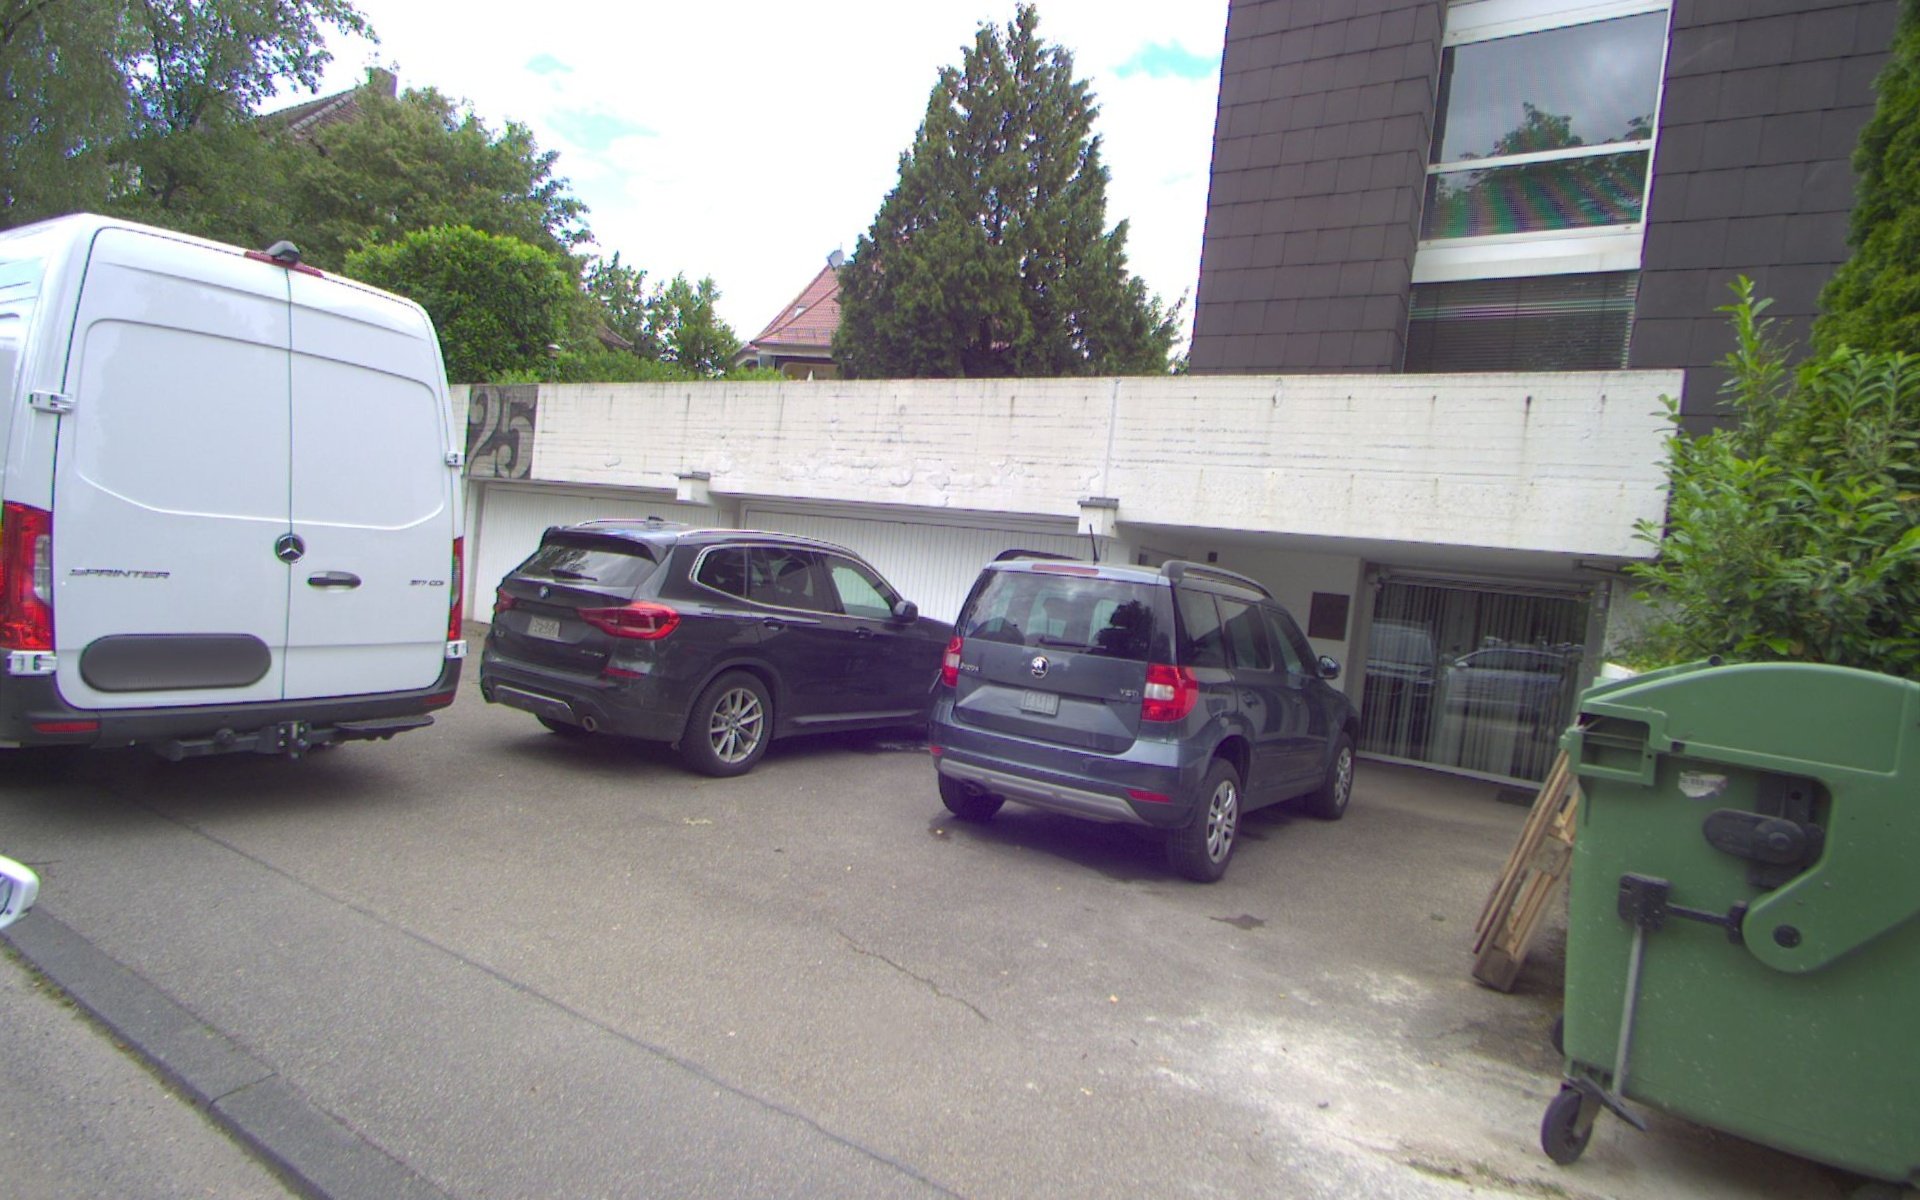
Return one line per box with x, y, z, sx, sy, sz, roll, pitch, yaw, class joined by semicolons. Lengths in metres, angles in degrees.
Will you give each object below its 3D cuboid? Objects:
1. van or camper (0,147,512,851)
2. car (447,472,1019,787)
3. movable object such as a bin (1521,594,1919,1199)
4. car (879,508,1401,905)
-5.786;-0.615;6.320;6.433;2.653;1.995;7;1;32;van or camper
-1.441;0.242;8.096;1.710;1.772;4.419;7;1;33;car
2.273;0.832;2.807;1.016;1.550;1.034;7;1;33;movable object such as a bin
1.492;0.571;6.786;1.804;1.772;3.973;7;1;35;car
